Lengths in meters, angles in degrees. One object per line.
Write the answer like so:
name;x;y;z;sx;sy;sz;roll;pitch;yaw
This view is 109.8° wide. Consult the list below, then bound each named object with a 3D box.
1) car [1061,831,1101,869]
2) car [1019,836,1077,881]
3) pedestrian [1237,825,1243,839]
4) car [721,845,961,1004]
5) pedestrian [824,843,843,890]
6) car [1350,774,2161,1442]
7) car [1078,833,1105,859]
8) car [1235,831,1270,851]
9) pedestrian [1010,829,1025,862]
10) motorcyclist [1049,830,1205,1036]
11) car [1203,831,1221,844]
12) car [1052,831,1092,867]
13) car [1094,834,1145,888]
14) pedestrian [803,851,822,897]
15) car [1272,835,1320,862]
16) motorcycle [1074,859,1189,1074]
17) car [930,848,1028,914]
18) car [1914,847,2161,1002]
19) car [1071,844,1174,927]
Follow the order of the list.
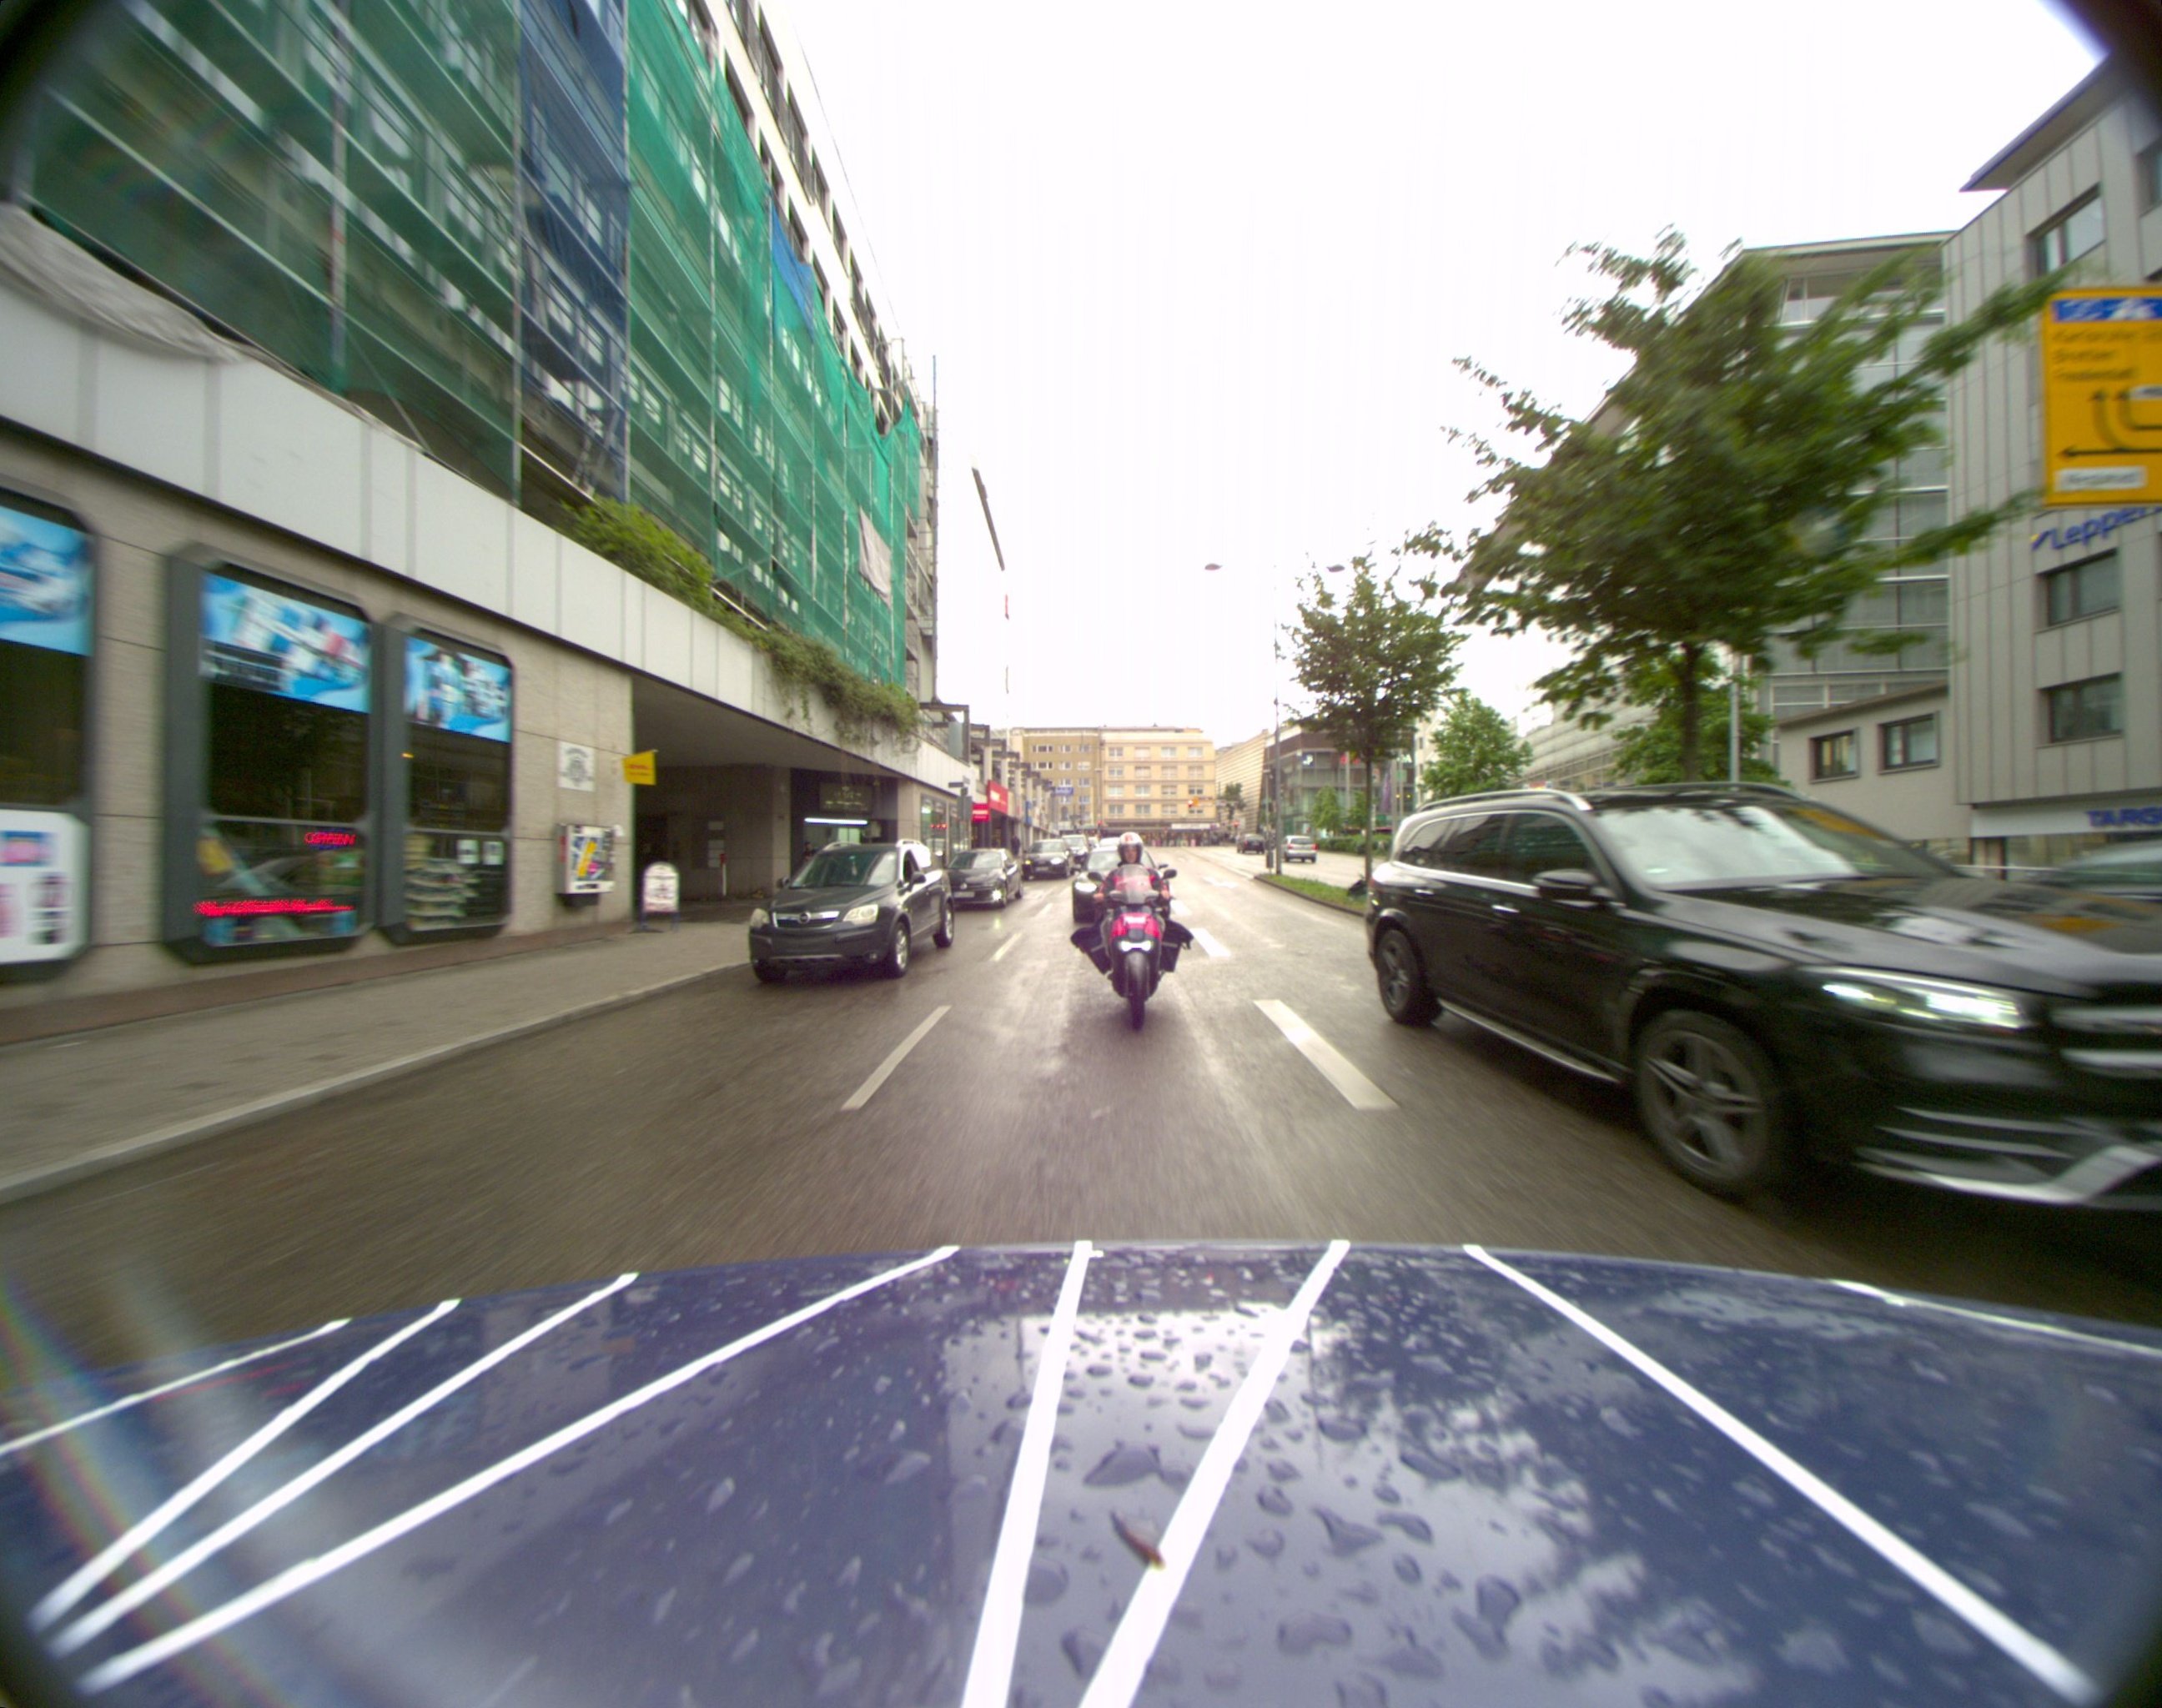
car;0.040;-0.240;37.885;1.832;1.726;3.999;1;2;2
car;-1.291;0.132;31.332;1.776;1.575;4.000;-3;2;5
pedestrian;19.968;-2.758;95.271;0.605;1.831;0.588;-2;2;1
car;-3.033;0.772;10.644;1.735;1.669;4.248;-2;2;3
pedestrian;-8.054;0.400;24.757;0.429;1.480;0.524;0;3;-2
car;3.451;0.567;4.435;1.998;1.768;4.884;-2;2;0
car;0.755;-0.578;54.095;1.832;1.726;3.999;1;2;2
car;13.287;-1.056;59.072;1.998;1.500;4.185;0;2;4
pedestrian;-3.627;-0.481;43.444;0.708;1.771;0.640;4;7;3
motorcyclist;0.414;0.685;7.053;1.296;1.757;0.845;-2;2;1
car;22.769;-2.873;132.105;1.999;2.002;3.997;-3;2;-5
car;-0.422;-0.314;39.127;1.832;1.726;3.999;1;2;2
car;1.304;0.193;26.480;1.632;1.731;3.599;0;1;2
pedestrian;-8.895;0.647;25.177;0.525;1.480;0.428;-1;3;-31
car;11.912;-0.337;42.347;1.629;1.429;3.646;0;2;0
motorcycle;0.394;0.829;6.954;0.832;1.479;2.865;0;2;1
car;-2.532;0.622;19.743;1.681;1.422;3.776;-2;2;5
car;11.210;0.701;7.516;1.622;1.483;3.879;2;0;0
car;0.857;0.574;16.703;1.937;1.511;4.467;-1;2;2
